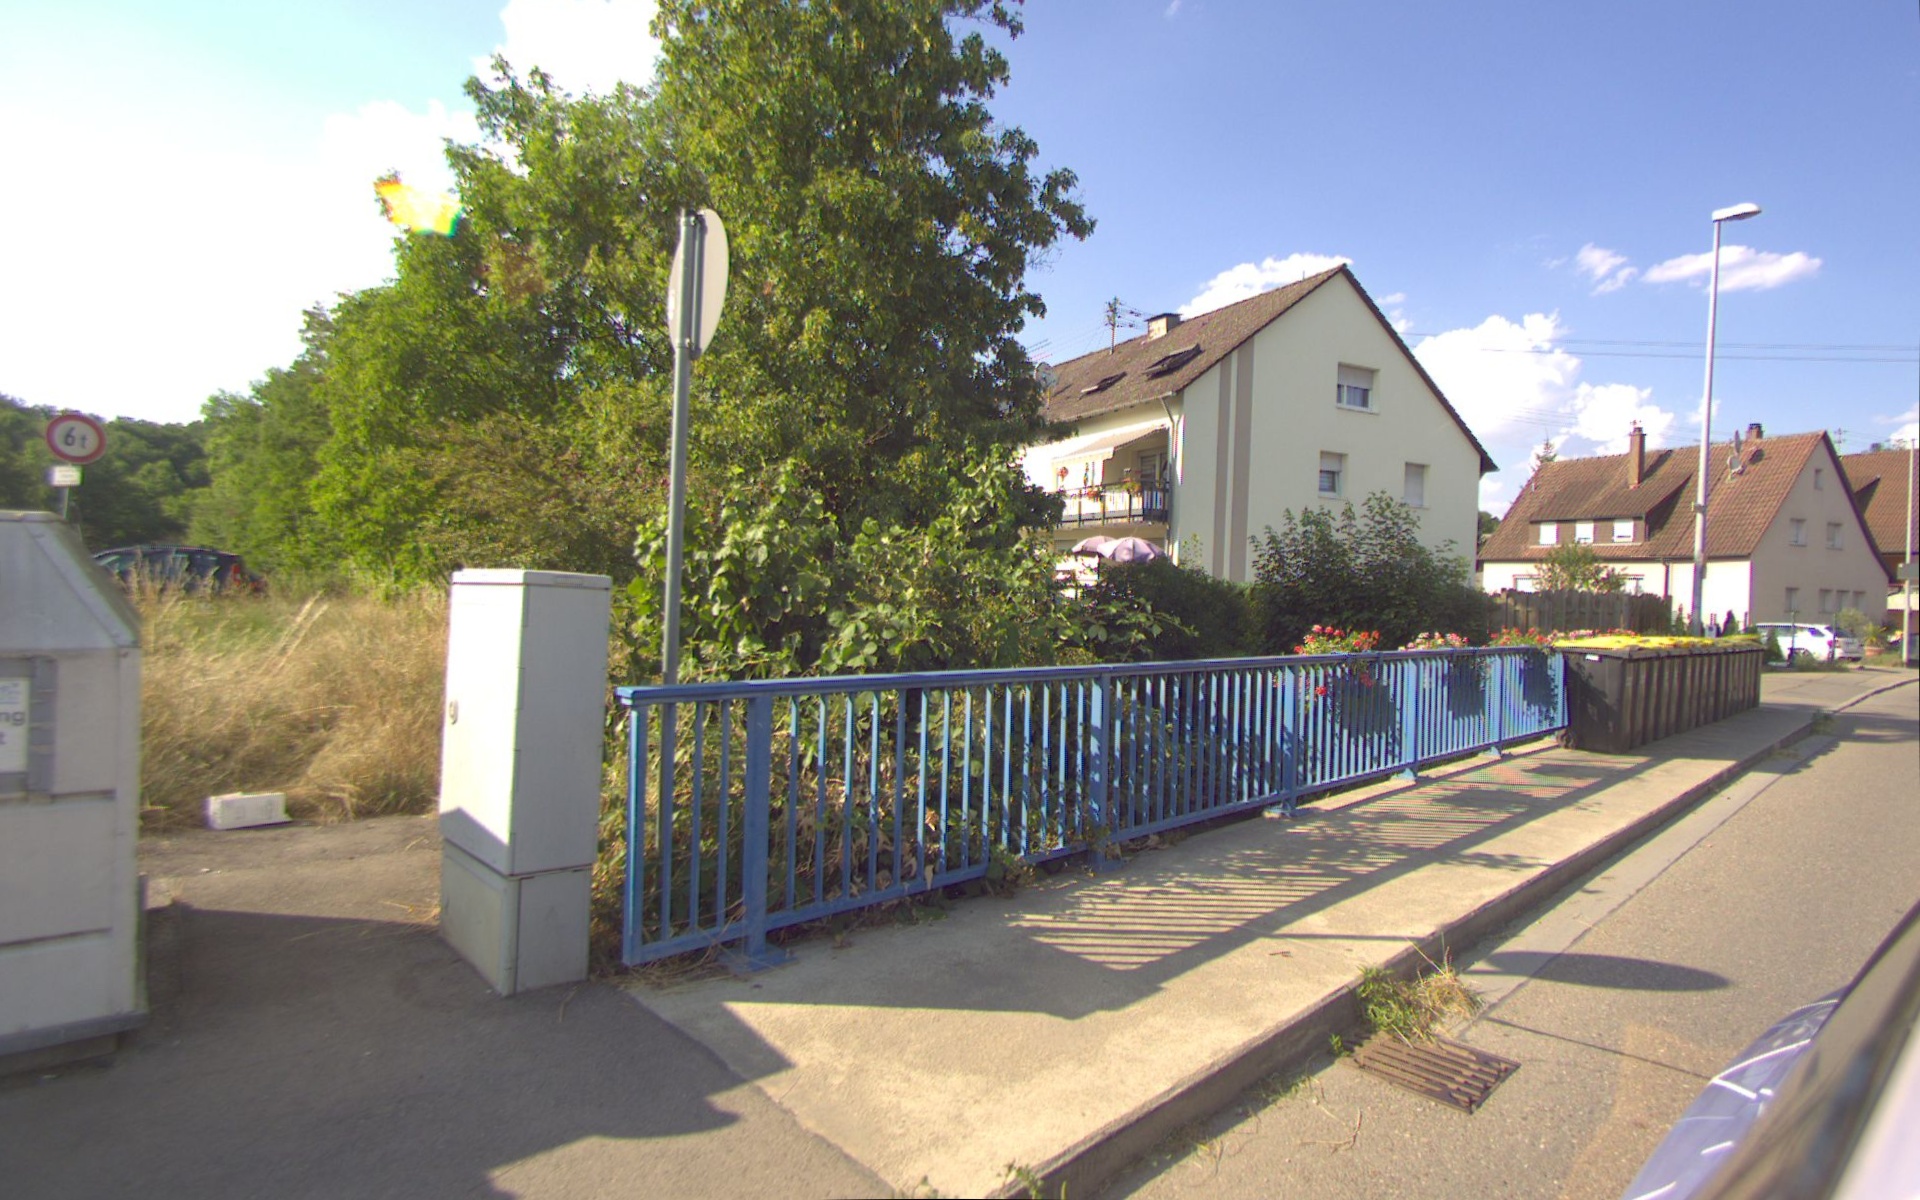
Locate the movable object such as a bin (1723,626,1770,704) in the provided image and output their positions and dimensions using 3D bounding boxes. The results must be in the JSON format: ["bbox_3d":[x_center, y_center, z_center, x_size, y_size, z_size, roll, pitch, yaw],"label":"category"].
[{"bbox_3d":[12.297,1.000,15.816,0.530,1.157,0.479,2,1,-45],"label":"movable object such as a bin"}]

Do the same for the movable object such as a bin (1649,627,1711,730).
[{"bbox_3d":[8.525,0.907,11.986,0.530,1.157,0.479,2,1,-45],"label":"movable object such as a bin"}]

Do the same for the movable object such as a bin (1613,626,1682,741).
[{"bbox_3d":[7.323,0.871,10.776,0.530,1.157,0.479,2,1,-45],"label":"movable object such as a bin"}]

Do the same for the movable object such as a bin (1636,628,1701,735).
[{"bbox_3d":[8.114,0.913,11.593,0.530,1.157,0.479,2,1,-45],"label":"movable object such as a bin"}]

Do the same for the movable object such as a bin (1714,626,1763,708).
[{"bbox_3d":[11.536,0.985,14.997,0.530,1.157,0.479,2,1,-45],"label":"movable object such as a bin"}]

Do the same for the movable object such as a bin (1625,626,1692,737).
[{"bbox_3d":[7.722,0.879,11.188,0.530,1.157,0.479,2,1,-45],"label":"movable object such as a bin"}]

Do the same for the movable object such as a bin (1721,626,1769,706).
[{"bbox_3d":[11.935,0.993,15.389,0.534,1.157,0.479,2,1,-45],"label":"movable object such as a bin"}]

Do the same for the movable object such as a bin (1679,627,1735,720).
[{"bbox_3d":[9.800,0.949,13.271,0.530,1.157,0.479,2,1,-45],"label":"movable object such as a bin"}]

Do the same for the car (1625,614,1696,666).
[{"bbox_3d":[22.459,1.219,32.572,1.687,1.538,4.226,-1,-1,33],"label":"car"}]

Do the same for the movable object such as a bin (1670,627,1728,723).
[{"bbox_3d":[9.396,0.940,12.870,0.555,1.157,0.479,2,1,-45],"label":"movable object such as a bin"}]

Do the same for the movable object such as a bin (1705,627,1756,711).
[{"bbox_3d":[11.068,0.975,14.536,0.530,1.157,0.479,2,1,-45],"label":"movable object such as a bin"}]

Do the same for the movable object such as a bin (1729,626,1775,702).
[{"bbox_3d":[12.671,1.007,16.189,0.530,1.157,0.479,2,1,-45],"label":"movable object such as a bin"}]

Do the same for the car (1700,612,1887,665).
[{"bbox_3d":[27.574,1.221,33.678,1.695,1.476,4.487,1,1,-24],"label":"car"}]

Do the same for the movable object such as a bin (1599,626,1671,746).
[{"bbox_3d":[6.926,0.862,10.384,0.530,1.157,0.479,2,1,-45],"label":"movable object such as a bin"}]

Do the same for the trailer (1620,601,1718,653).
[{"bbox_3d":[26.856,1.030,38.348,3.149,1.774,1.528,3,0,-22],"label":"trailer"}]

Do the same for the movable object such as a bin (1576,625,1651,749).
[{"bbox_3d":[6.487,0.846,10.046,0.530,1.157,0.479,2,1,-45],"label":"movable object such as a bin"}]

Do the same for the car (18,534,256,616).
[{"bbox_3d":[-16.885,-0.502,20.984,3.501,1.519,1.686,2,1,-26],"label":"car"}]

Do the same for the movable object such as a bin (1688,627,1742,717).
[{"bbox_3d":[10.199,0.957,13.673,0.530,1.157,0.479,2,1,-45],"label":"movable object such as a bin"}]

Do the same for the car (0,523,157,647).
[{"bbox_3d":[-13.828,-0.247,14.131,3.874,1.673,1.684,1,1,-32],"label":"car"}]

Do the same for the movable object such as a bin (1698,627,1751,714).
[{"bbox_3d":[10.652,0.967,14.106,0.530,1.157,0.479,2,1,-45],"label":"movable object such as a bin"}]

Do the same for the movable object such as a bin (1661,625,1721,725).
[{"bbox_3d":[8.982,0.905,12.439,0.530,1.157,0.479,2,1,-45],"label":"movable object such as a bin"}]
